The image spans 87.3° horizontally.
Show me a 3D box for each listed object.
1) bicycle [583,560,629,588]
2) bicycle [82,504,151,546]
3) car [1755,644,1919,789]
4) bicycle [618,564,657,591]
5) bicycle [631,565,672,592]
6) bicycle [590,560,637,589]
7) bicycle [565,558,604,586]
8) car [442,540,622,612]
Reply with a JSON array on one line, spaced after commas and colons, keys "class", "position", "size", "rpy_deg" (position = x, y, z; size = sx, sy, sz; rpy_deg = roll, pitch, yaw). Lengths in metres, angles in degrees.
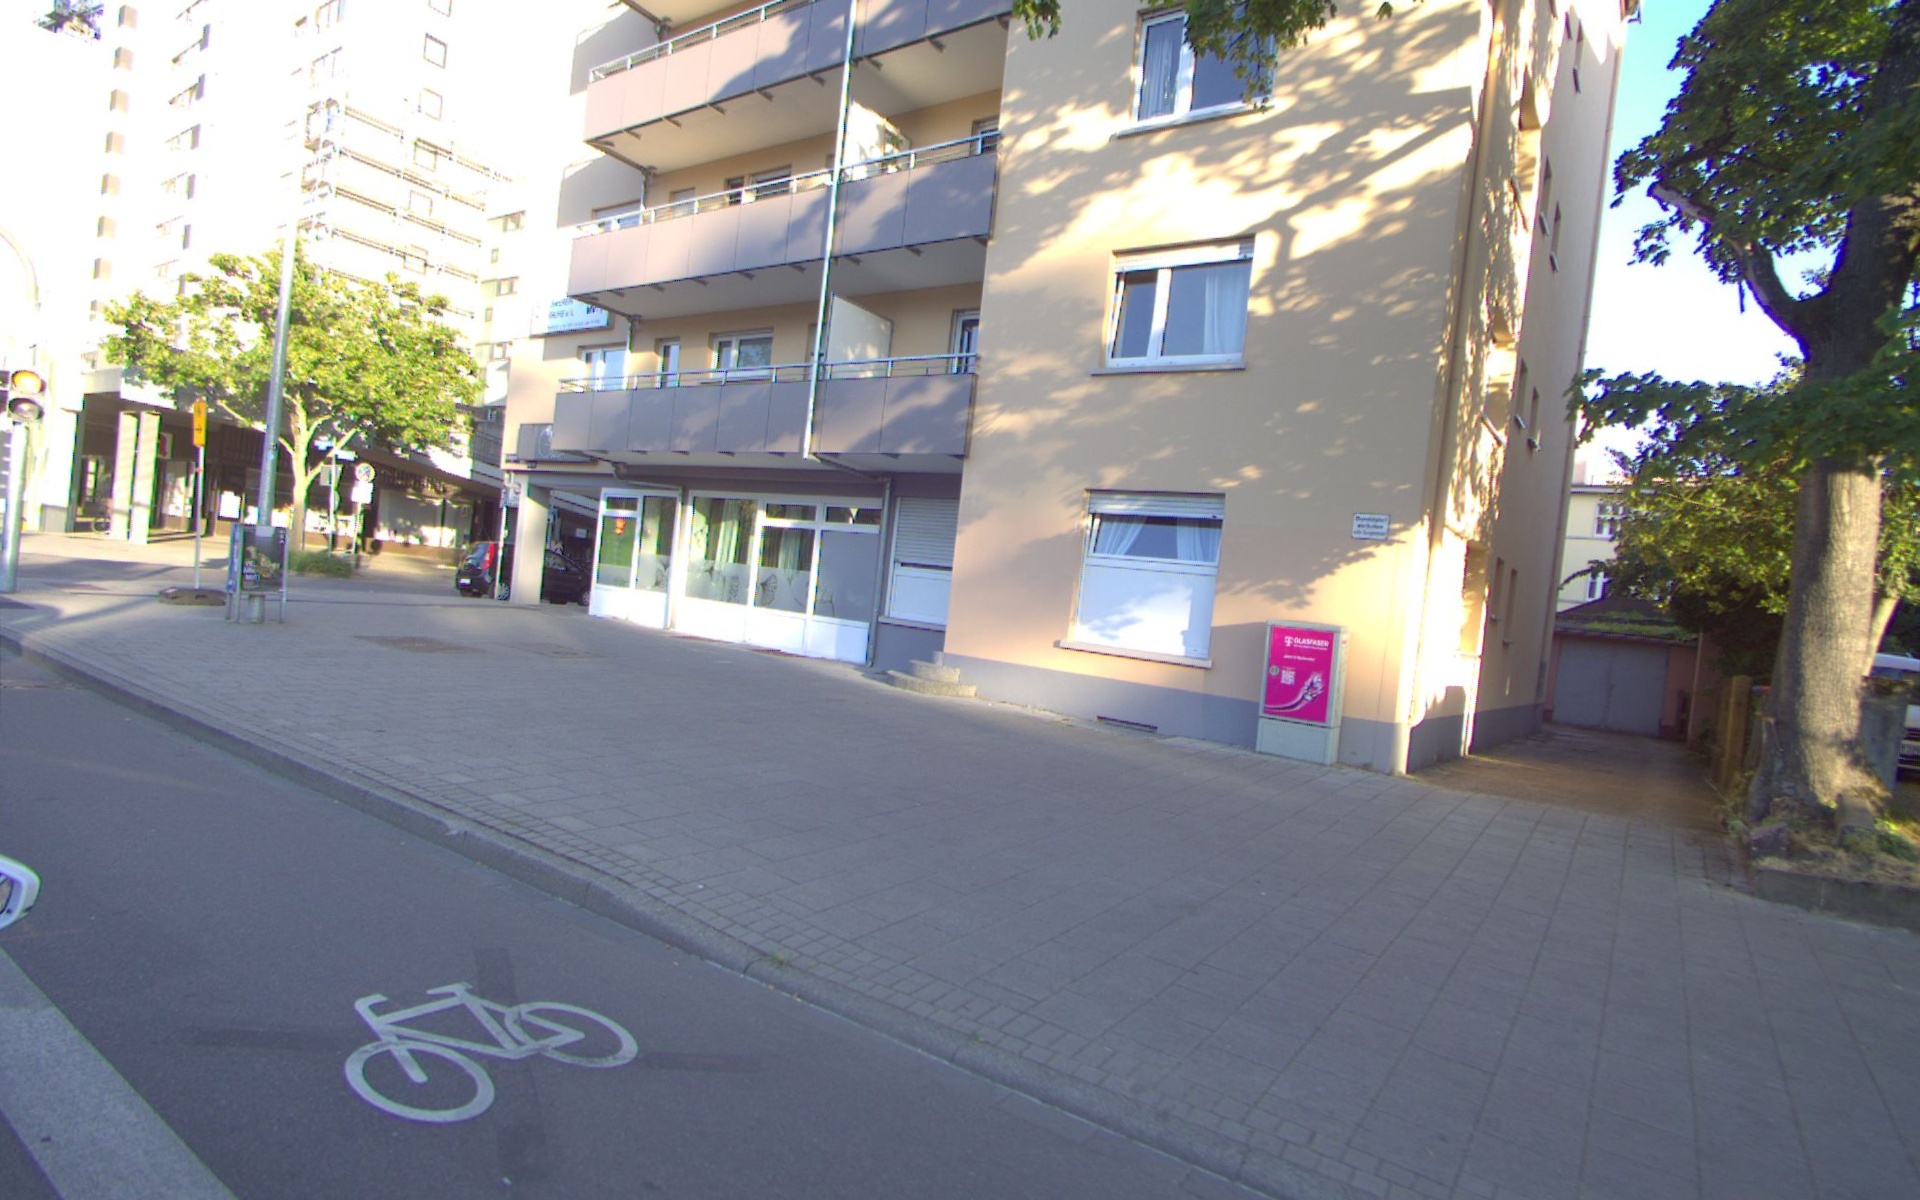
[{"class": "bicycle", "position": [-16.718, -1.233, 47.504], "size": [1.940, 1.087, 0.583], "rpy_deg": [7, -2, 15]}, {"class": "bicycle", "position": [-29.119, -2.599, 34.738], "size": [1.984, 1.162, 0.692], "rpy_deg": [7, -2, 16]}, {"class": "car", "position": [13.789, 1.682, 15.273], "size": [1.794, 1.780, 4.511], "rpy_deg": [8, 2, 29]}, {"class": "bicycle", "position": [-15.636, -1.093, 48.760], "size": [1.944, 1.087, 0.582], "rpy_deg": [6, -3, 31]}, {"class": "bicycle", "position": [-15.051, -1.044, 49.092], "size": [1.943, 1.087, 0.582], "rpy_deg": [6, -3, 28]}, {"class": "bicycle", "position": [-16.513, -1.202, 47.940], "size": [1.939, 1.087, 0.584], "rpy_deg": [7, -2, 11]}, {"class": "bicycle", "position": [-17.151, -1.274, 45.964], "size": [1.947, 1.086, 0.581], "rpy_deg": [5, -3, 37]}, {"class": "car", "position": [-11.288, -0.606, 26.748], "size": [1.681, 1.605, 4.035], "rpy_deg": [3, -1, 38]}]
